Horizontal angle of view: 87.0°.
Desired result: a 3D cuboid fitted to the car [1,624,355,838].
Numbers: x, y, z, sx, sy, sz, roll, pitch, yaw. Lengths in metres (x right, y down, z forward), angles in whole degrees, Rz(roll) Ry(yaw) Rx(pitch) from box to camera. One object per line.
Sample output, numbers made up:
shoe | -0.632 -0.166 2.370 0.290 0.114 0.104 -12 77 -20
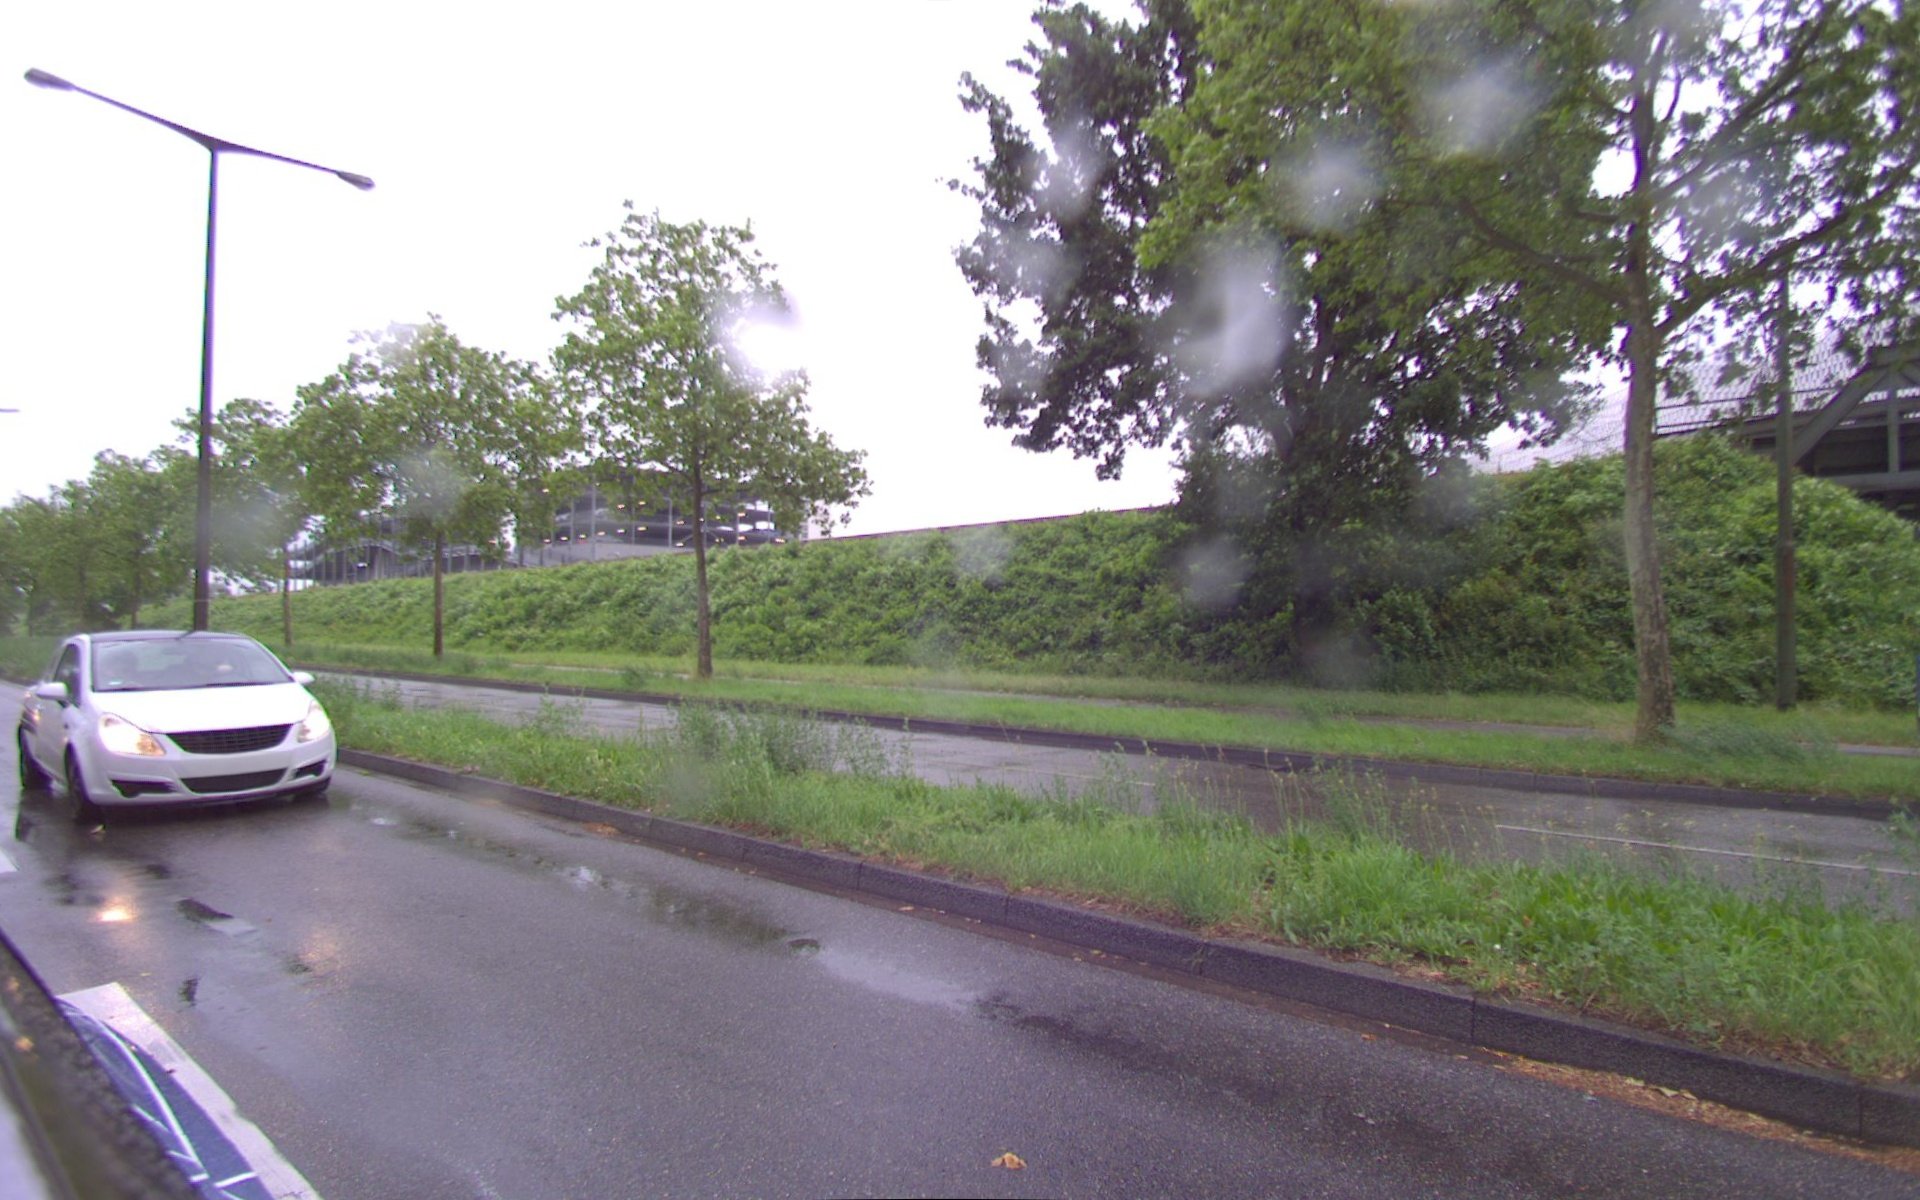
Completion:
car | -6.866 0.936 8.726 4.009 1.387 1.661 -2 -1 41
